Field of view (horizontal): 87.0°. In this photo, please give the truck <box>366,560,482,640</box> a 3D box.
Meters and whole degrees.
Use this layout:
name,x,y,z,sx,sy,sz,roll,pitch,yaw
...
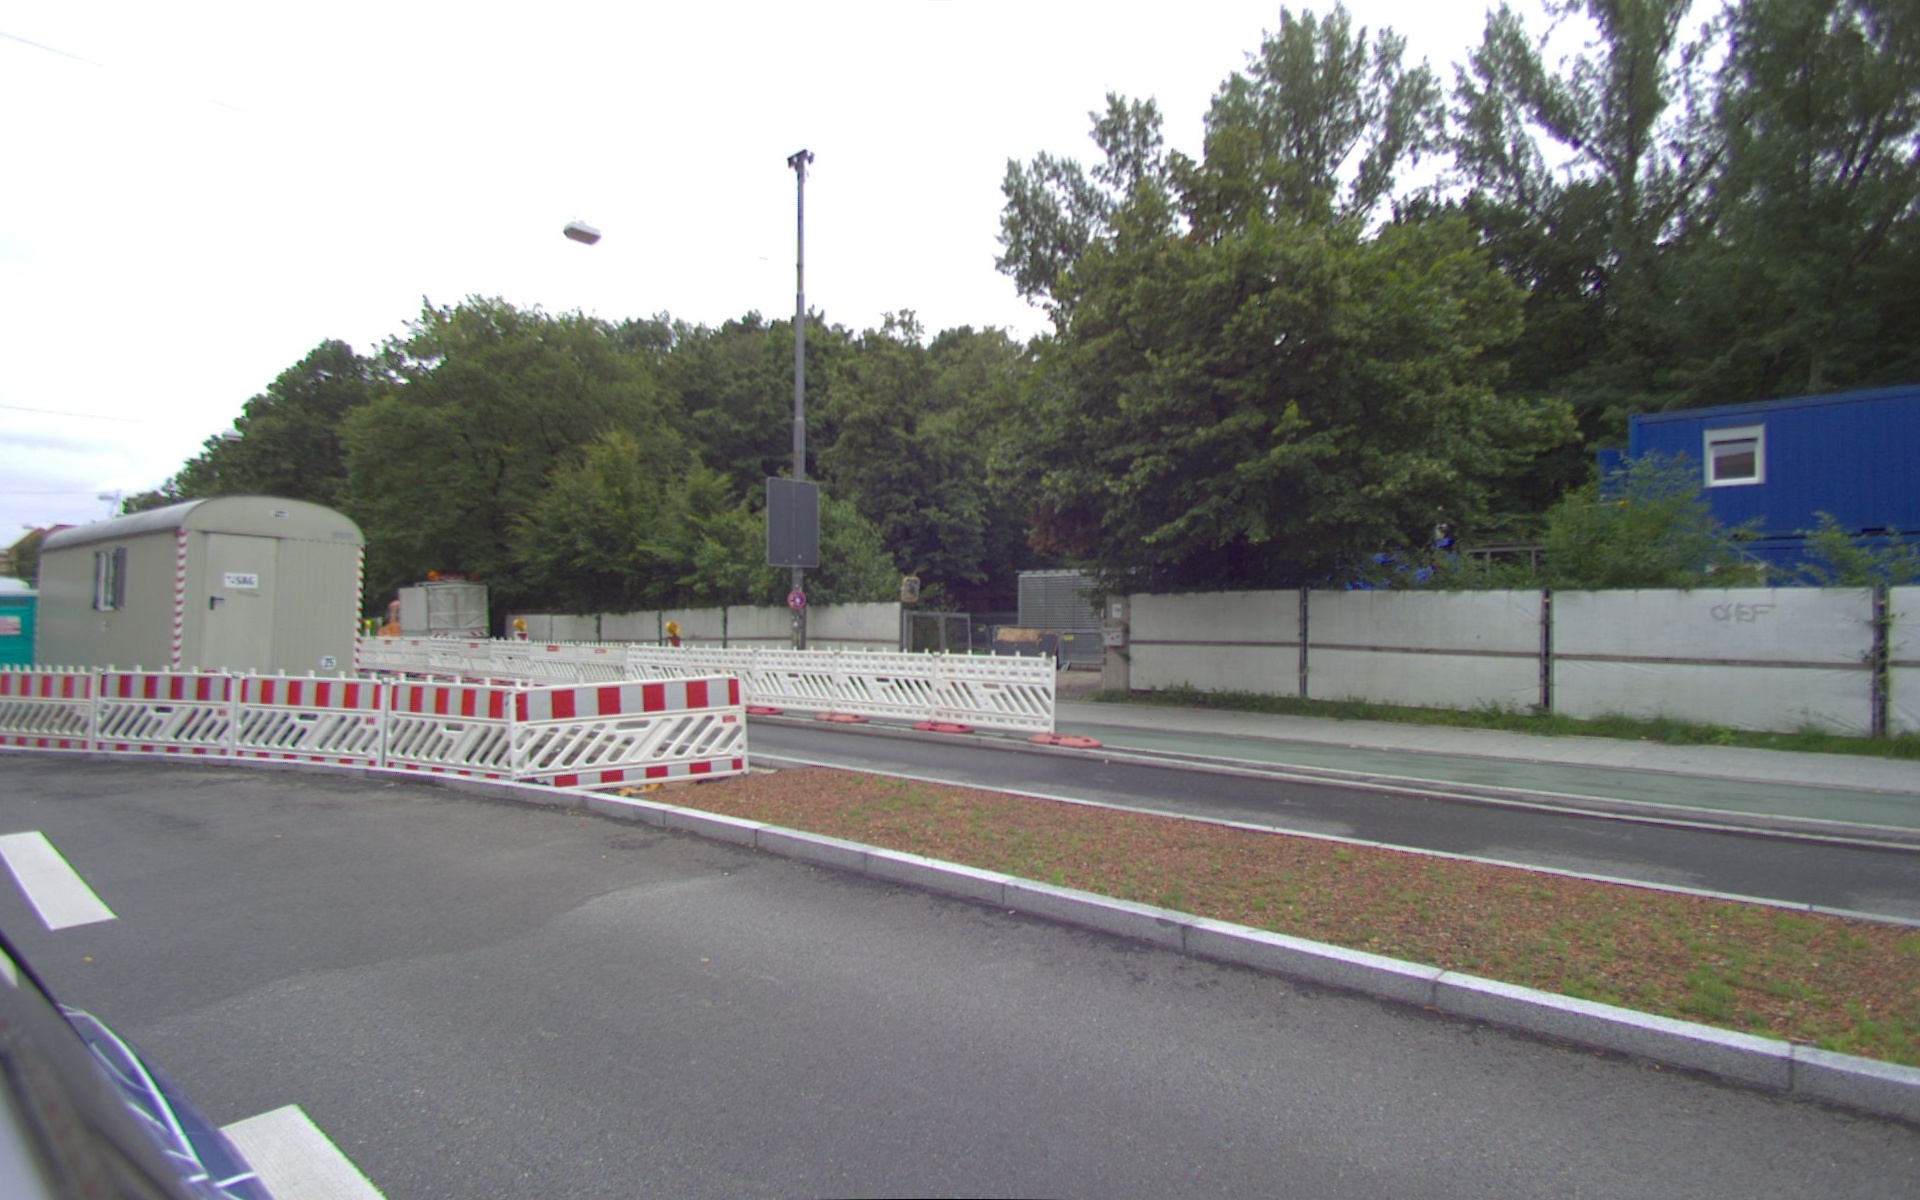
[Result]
name,x,y,z,sx,sy,sz,roll,pitch,yaw
truck,-19.975,0.099,37.566,5.869,2.749,1.972,-2,-2,43

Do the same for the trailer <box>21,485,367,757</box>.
name,x,y,z,sx,sy,sz,roll,pitch,yaw
trailer,-11.806,0.346,15.302,7.506,3.268,2.206,-2,-2,37
